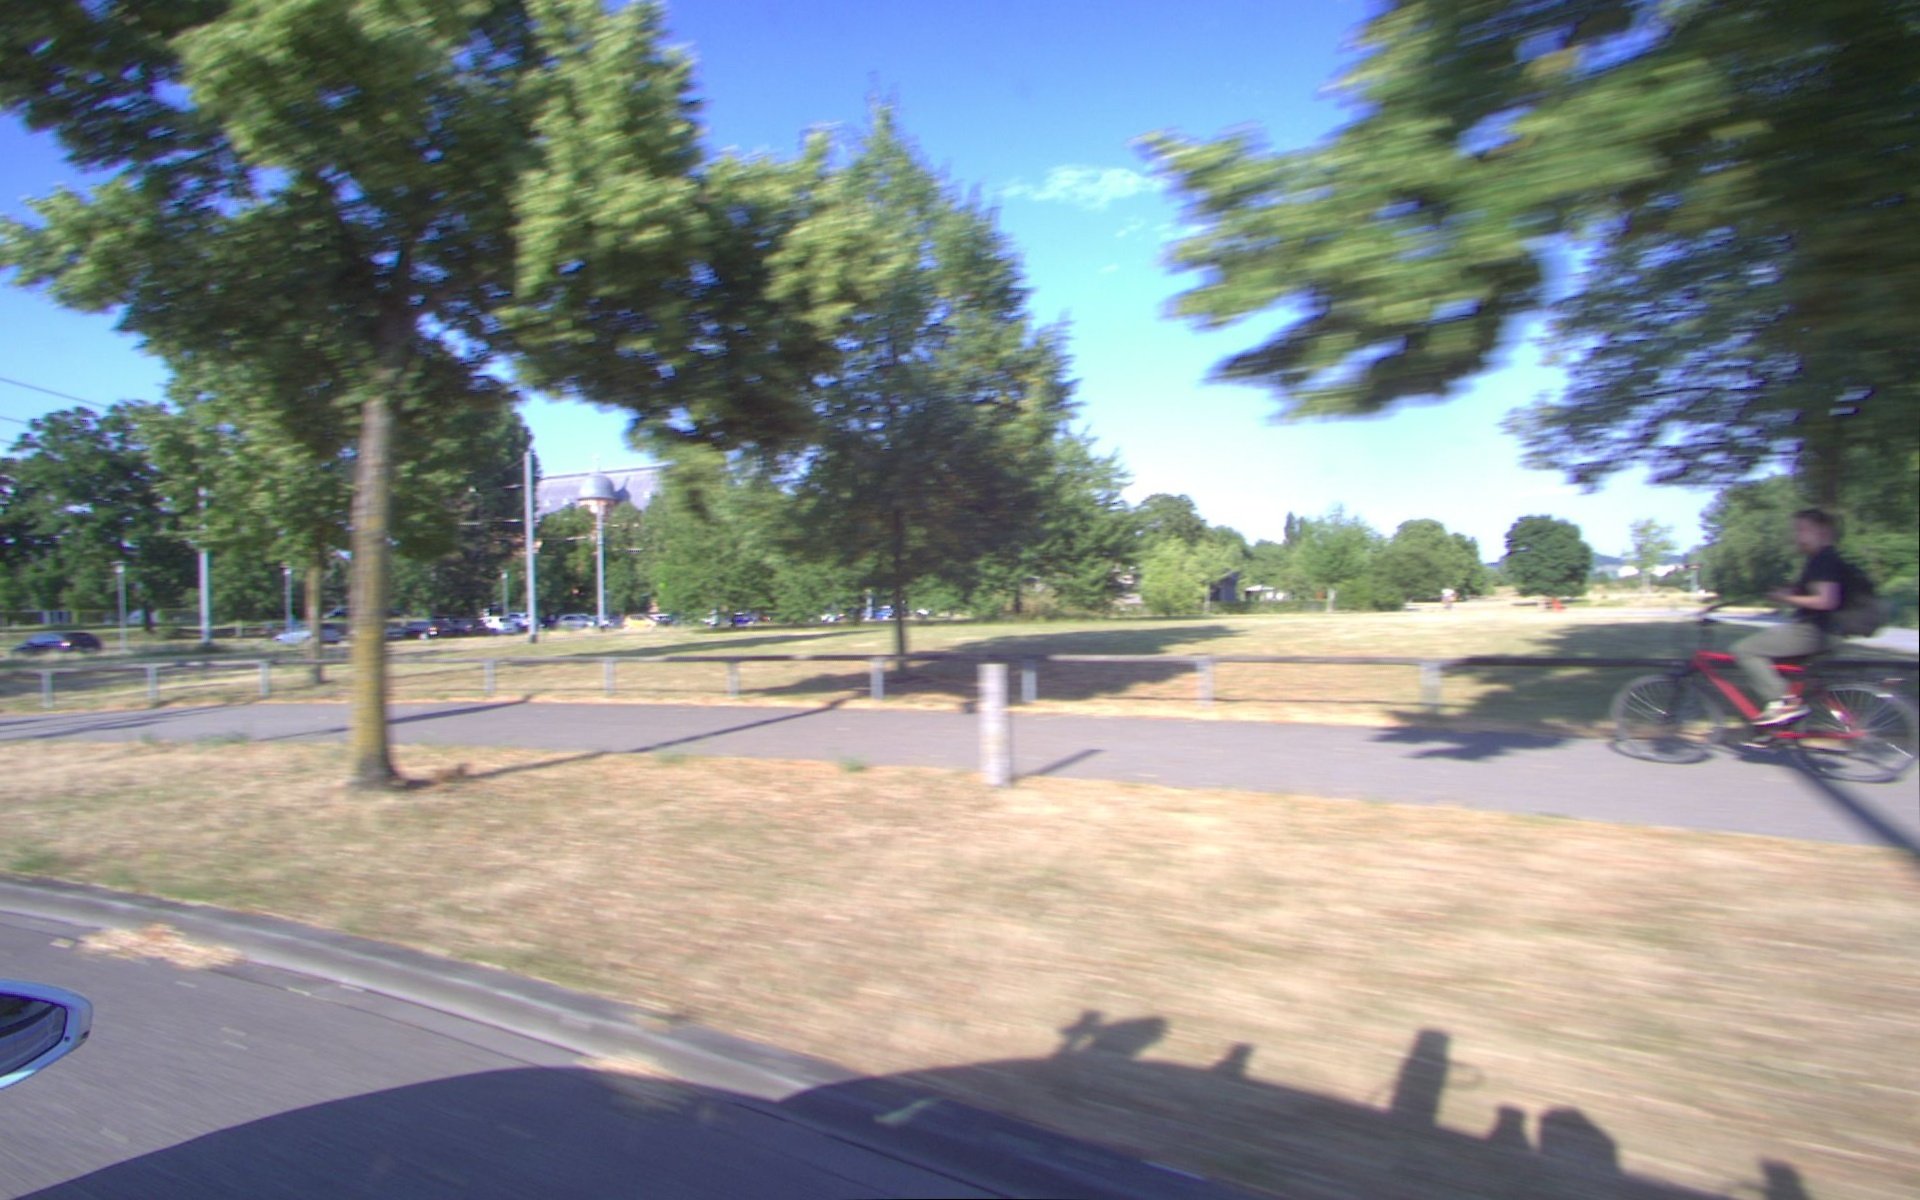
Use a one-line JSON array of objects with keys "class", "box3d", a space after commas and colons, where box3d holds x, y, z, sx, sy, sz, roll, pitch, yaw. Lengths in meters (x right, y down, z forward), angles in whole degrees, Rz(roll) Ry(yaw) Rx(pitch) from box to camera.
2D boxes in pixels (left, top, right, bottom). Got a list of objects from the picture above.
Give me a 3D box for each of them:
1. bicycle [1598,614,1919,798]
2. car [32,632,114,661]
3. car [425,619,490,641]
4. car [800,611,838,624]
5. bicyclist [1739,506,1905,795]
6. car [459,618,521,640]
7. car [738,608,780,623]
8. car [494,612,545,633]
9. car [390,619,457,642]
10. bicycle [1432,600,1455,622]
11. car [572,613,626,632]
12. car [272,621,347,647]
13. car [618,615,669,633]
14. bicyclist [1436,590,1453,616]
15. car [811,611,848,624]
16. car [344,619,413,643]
[{"class": "bicycle", "box3d": [5.737, 0.697, 7.227, 0.412, 1.174, 1.872, -3, 1, -45]}, {"class": "car", "box3d": [-42.424, 2.228, 47.876, 3.907, 1.327, 1.600, -2, 0, 27]}, {"class": "car", "box3d": [-34.246, 2.035, 68.249, 3.933, 1.421, 1.822, -2, 0, 23]}, {"class": "car", "box3d": [-16.000, 1.967, 113.500, 3.933, 1.421, 1.822, -2, 0, 23]}, {"class": "bicyclist", "box3d": [5.958, 0.320, 6.931, 0.821, 1.855, 0.615, 1, 3, 44]}, {"class": "car", "box3d": [-33.431, 2.047, 71.204, 3.933, 1.421, 1.822, -2, 0, 23]}, {"class": "car", "box3d": [-20.547, 1.559, 102.364, 3.933, 1.421, 1.822, -2, 0, 23]}, {"class": "car", "box3d": [-38.499, 1.974, 87.550, 3.933, 1.694, 1.822, -2, 0, 23]}, {"class": "car", "box3d": [-35.333, 1.989, 65.965, 3.933, 1.421, 1.822, -2, 0, 23]}, {"class": "bicycle", "box3d": [33.642, 0.764, 69.648, 0.385, 1.468, 1.943, -1, -2, -9]}, {"class": "car", "box3d": [-29.367, 1.840, 81.425, 3.933, 1.421, 1.822, -2, 0, 23]}, {"class": "car", "box3d": [-38.423, 1.990, 59.165, 3.933, 1.421, 1.822, -2, 0, 23]}, {"class": "car", "box3d": [-27.307, 2.074, 86.353, 3.933, 1.421, 1.822, -2, 0, 23]}, {"class": "bicyclist", "box3d": [33.663, 0.209, 69.604, 0.626, 1.802, 0.929, -1, -2, -9]}, {"class": "car", "box3d": [-15.185, 2.049, 116.506, 3.933, 1.421, 1.822, -2, 0, 23]}, {"class": "car", "box3d": [-37.102, 1.982, 63.912, 3.933, 1.421, 1.822, -2, 0, 23]}]
